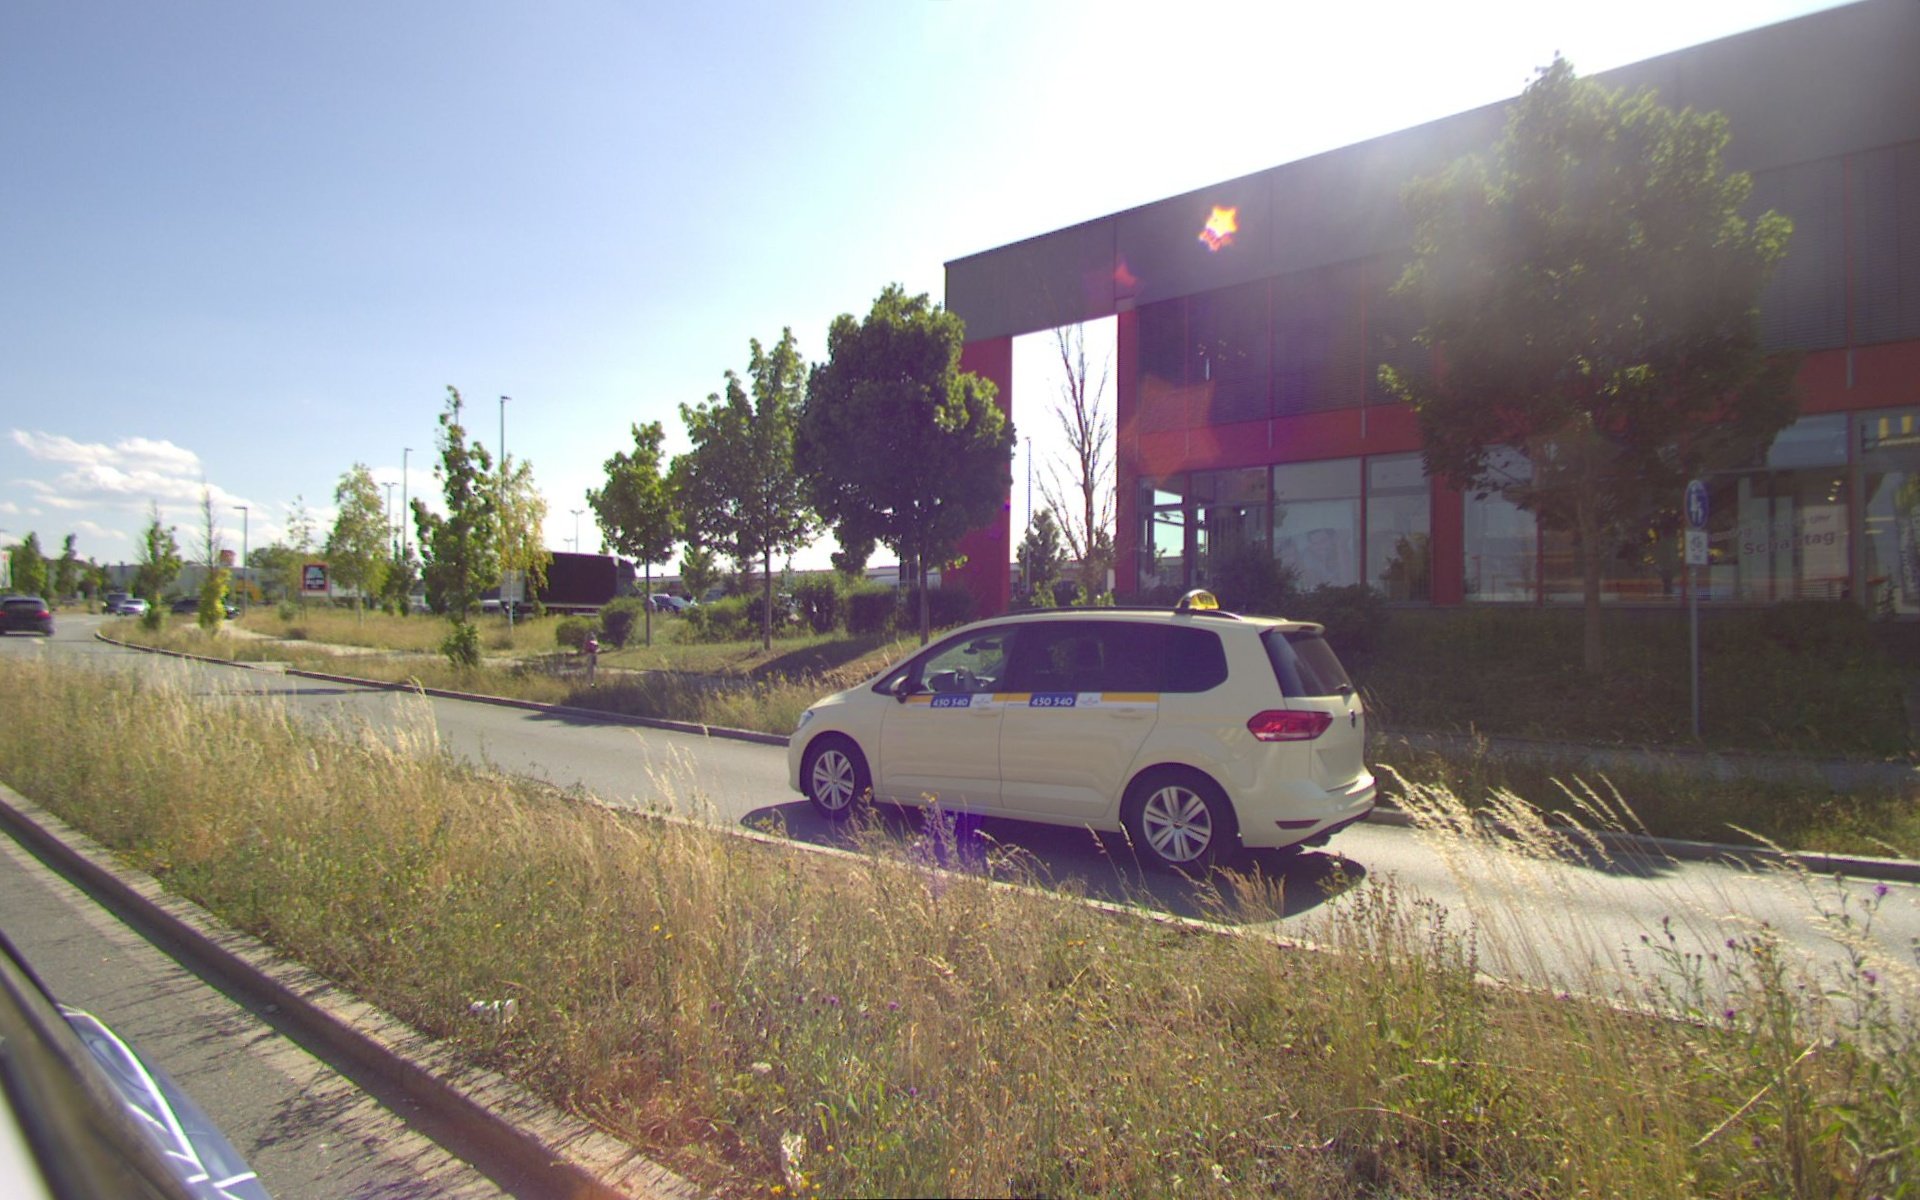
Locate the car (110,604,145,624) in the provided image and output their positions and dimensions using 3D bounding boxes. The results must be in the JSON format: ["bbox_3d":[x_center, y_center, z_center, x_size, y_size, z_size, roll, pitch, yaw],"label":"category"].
[{"bbox_3d":[-70.394,1.194,85.654,1.967,1.697,4.010,2,-2,-35],"label":"car"}]

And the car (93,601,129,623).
[{"bbox_3d":[-80.562,1.142,96.127,2.046,2.064,4.695,2,-2,-33],"label":"car"}]

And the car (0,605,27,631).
[{"bbox_3d":[-64.984,1.222,68.414,1.929,1.675,4.696,2,-2,-33],"label":"car"}]

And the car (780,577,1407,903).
[{"bbox_3d":[0.841,0.785,7.346,4.147,1.728,1.841,-1,-2,35],"label":"car"}]

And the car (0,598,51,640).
[{"bbox_3d":[-38.503,0.782,41.353,1.969,1.630,4.005,2,-2,-42],"label":"car"}]
